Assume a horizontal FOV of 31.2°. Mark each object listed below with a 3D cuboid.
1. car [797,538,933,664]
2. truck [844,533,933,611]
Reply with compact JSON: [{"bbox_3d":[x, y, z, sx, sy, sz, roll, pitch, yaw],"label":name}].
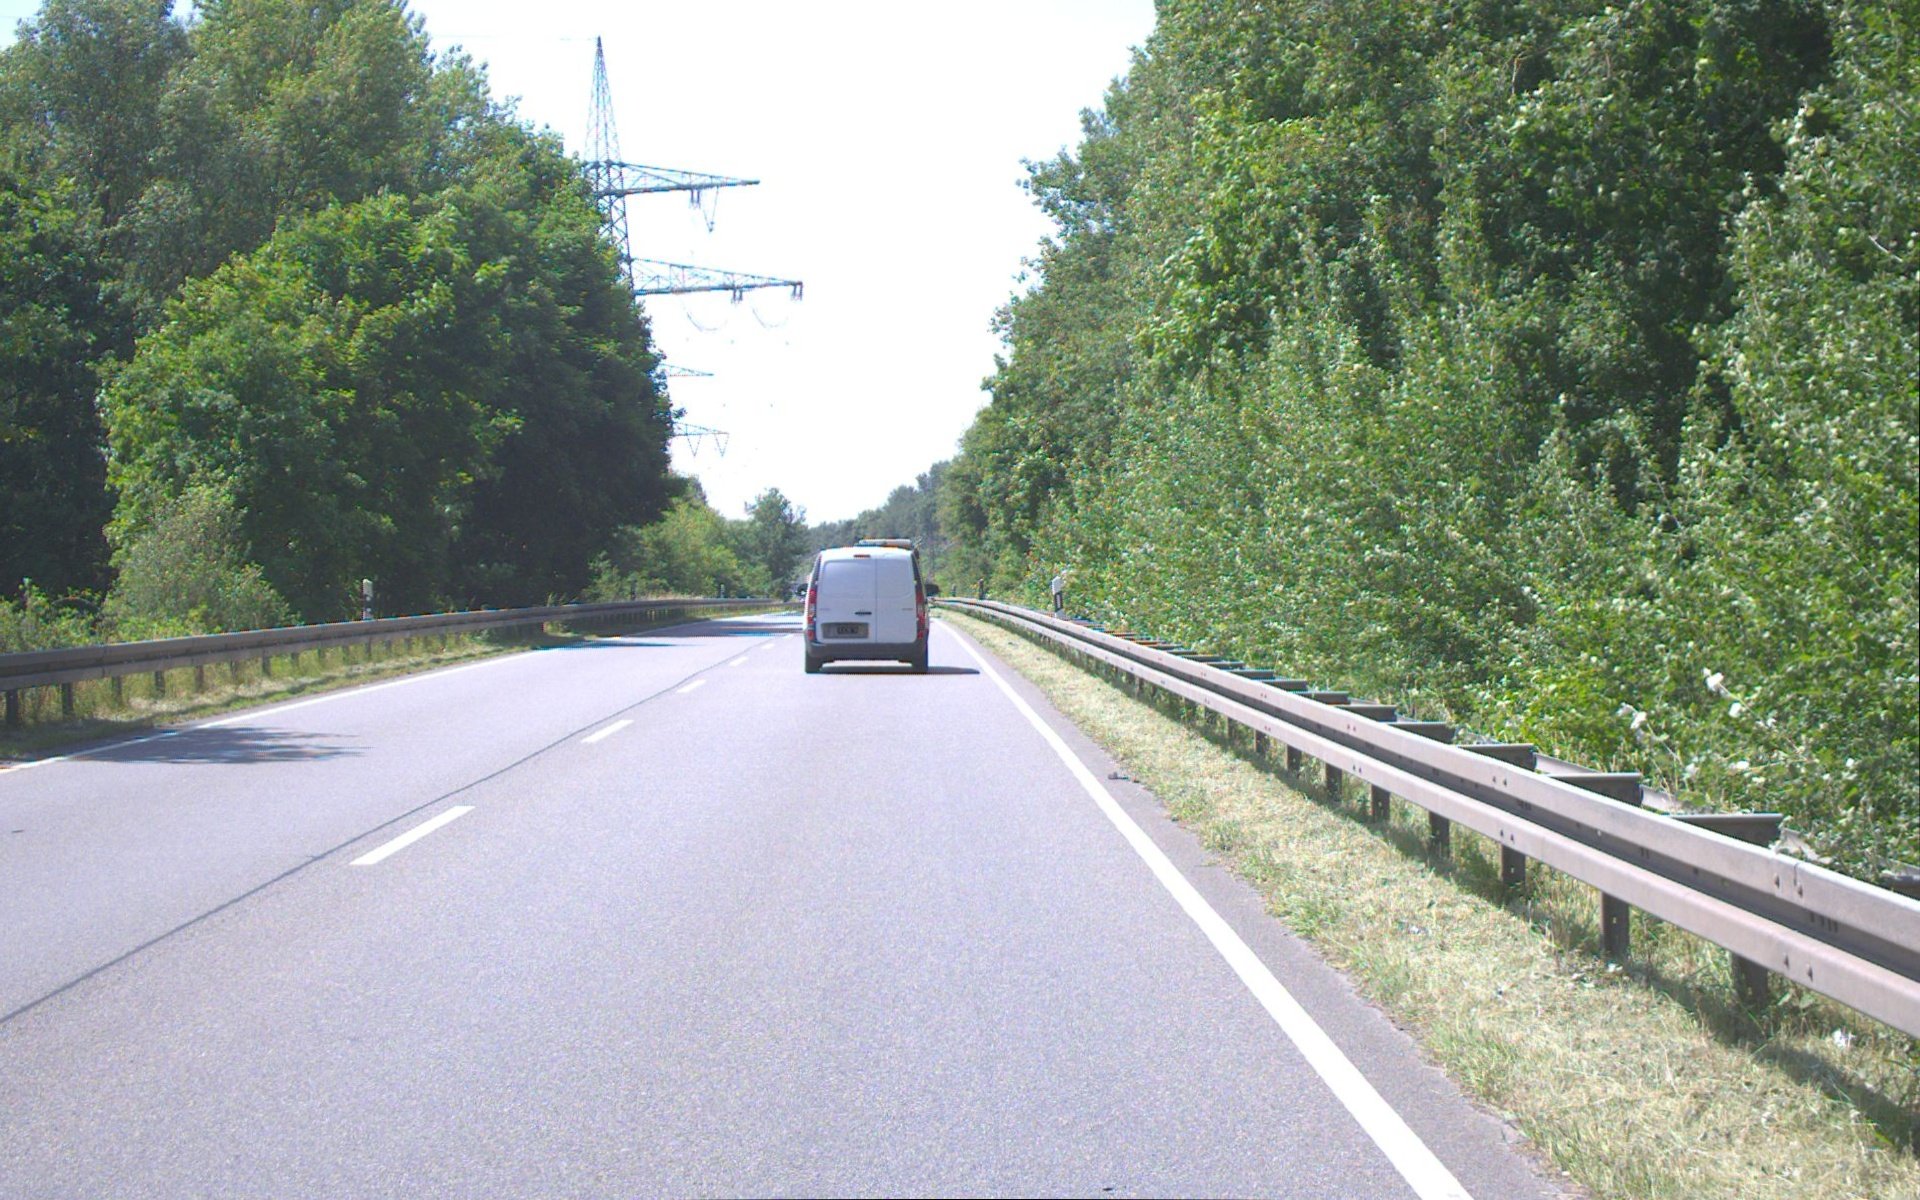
[{"bbox_3d":[-1.358,-0.026,49.616,1.875,1.735,4.000,0,1,-1],"label":"car"},{"bbox_3d":[-2.982,-1.274,148.102,3.296,3.161,14.404,0,1,1],"label":"truck"}]
